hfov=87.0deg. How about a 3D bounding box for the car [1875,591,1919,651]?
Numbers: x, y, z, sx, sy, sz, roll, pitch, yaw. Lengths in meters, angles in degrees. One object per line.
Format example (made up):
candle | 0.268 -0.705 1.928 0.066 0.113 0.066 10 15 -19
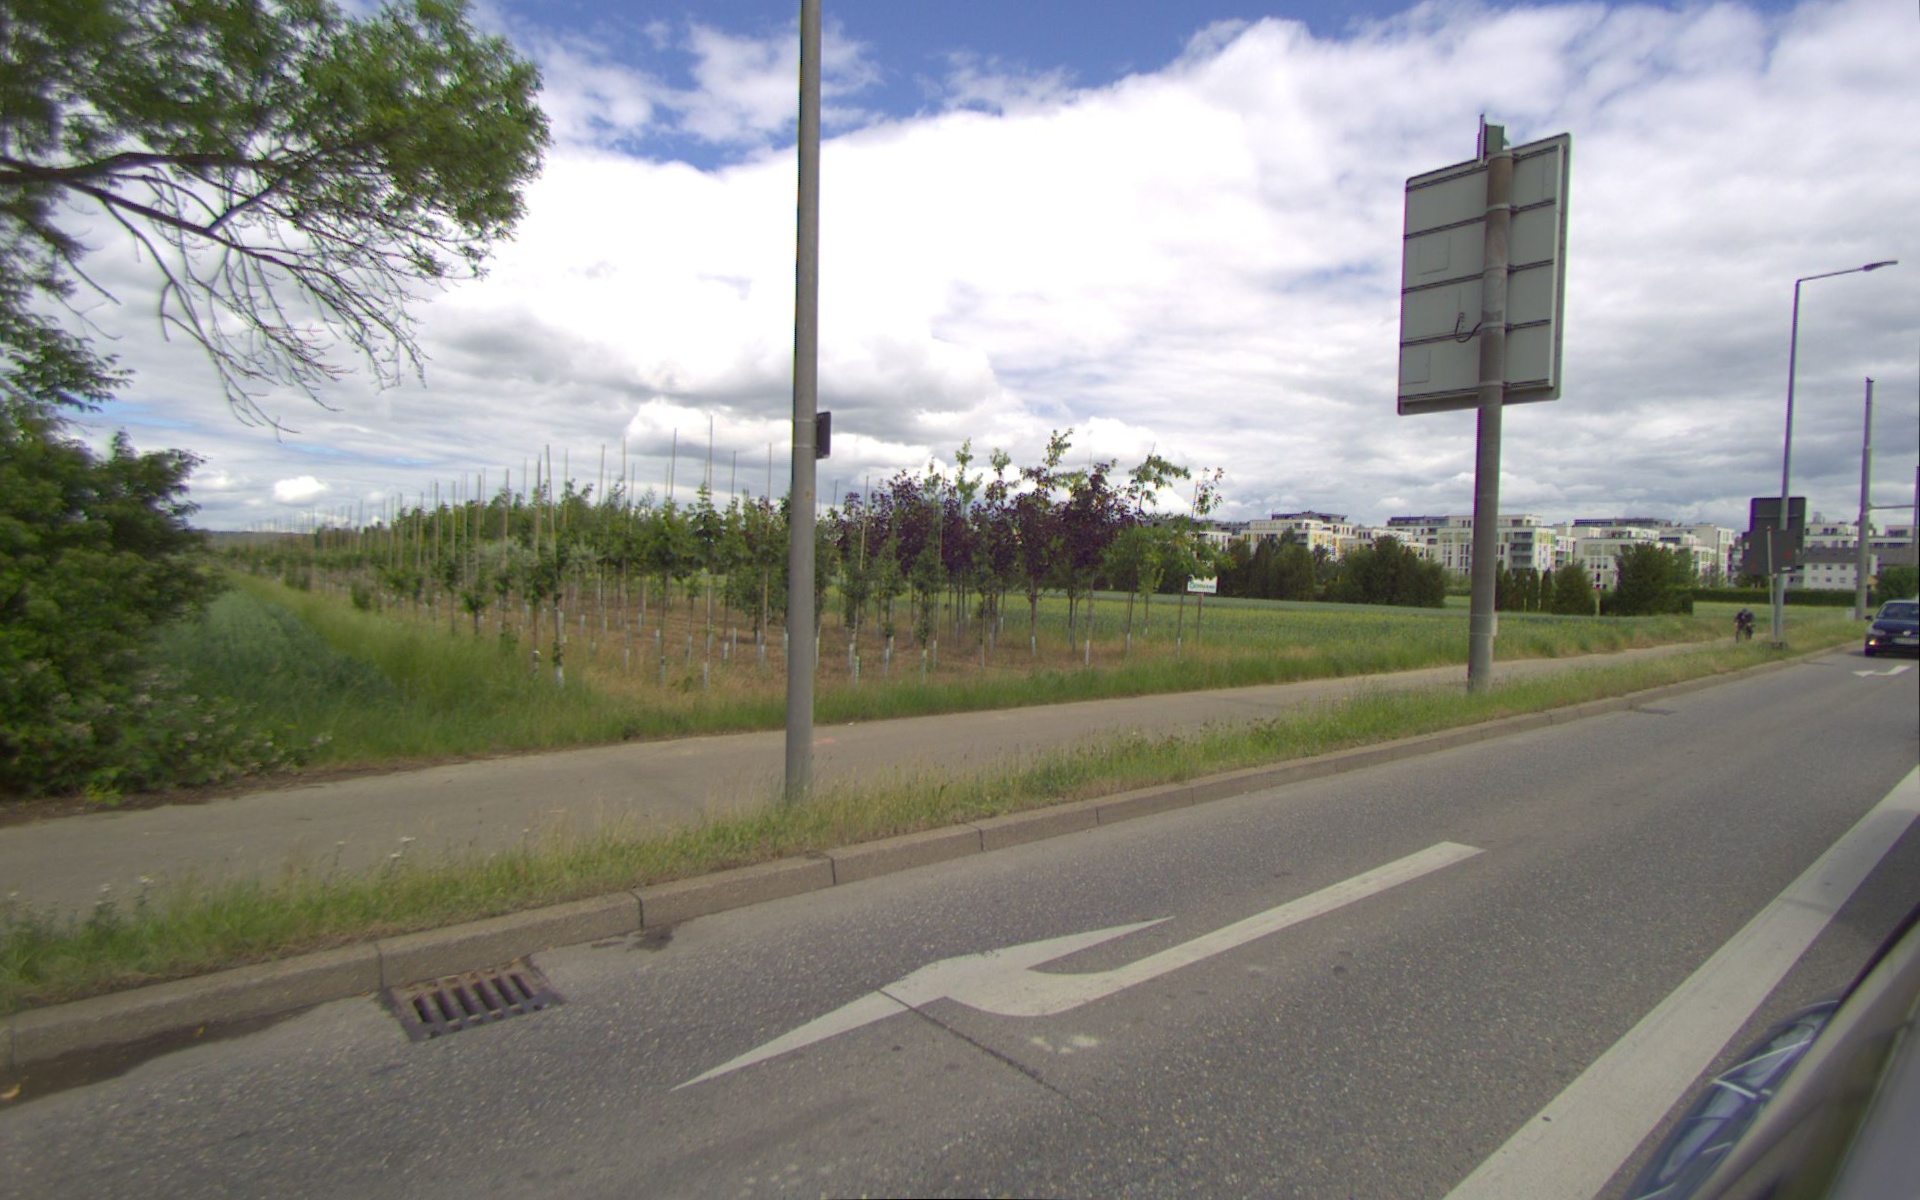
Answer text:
car | 24.647 0.505 25.747 3.676 1.436 1.681 -1 2 -42

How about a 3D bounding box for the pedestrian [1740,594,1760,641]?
pedestrian | 29.539 0.642 37.861 0.615 1.724 0.492 0 0 -42
